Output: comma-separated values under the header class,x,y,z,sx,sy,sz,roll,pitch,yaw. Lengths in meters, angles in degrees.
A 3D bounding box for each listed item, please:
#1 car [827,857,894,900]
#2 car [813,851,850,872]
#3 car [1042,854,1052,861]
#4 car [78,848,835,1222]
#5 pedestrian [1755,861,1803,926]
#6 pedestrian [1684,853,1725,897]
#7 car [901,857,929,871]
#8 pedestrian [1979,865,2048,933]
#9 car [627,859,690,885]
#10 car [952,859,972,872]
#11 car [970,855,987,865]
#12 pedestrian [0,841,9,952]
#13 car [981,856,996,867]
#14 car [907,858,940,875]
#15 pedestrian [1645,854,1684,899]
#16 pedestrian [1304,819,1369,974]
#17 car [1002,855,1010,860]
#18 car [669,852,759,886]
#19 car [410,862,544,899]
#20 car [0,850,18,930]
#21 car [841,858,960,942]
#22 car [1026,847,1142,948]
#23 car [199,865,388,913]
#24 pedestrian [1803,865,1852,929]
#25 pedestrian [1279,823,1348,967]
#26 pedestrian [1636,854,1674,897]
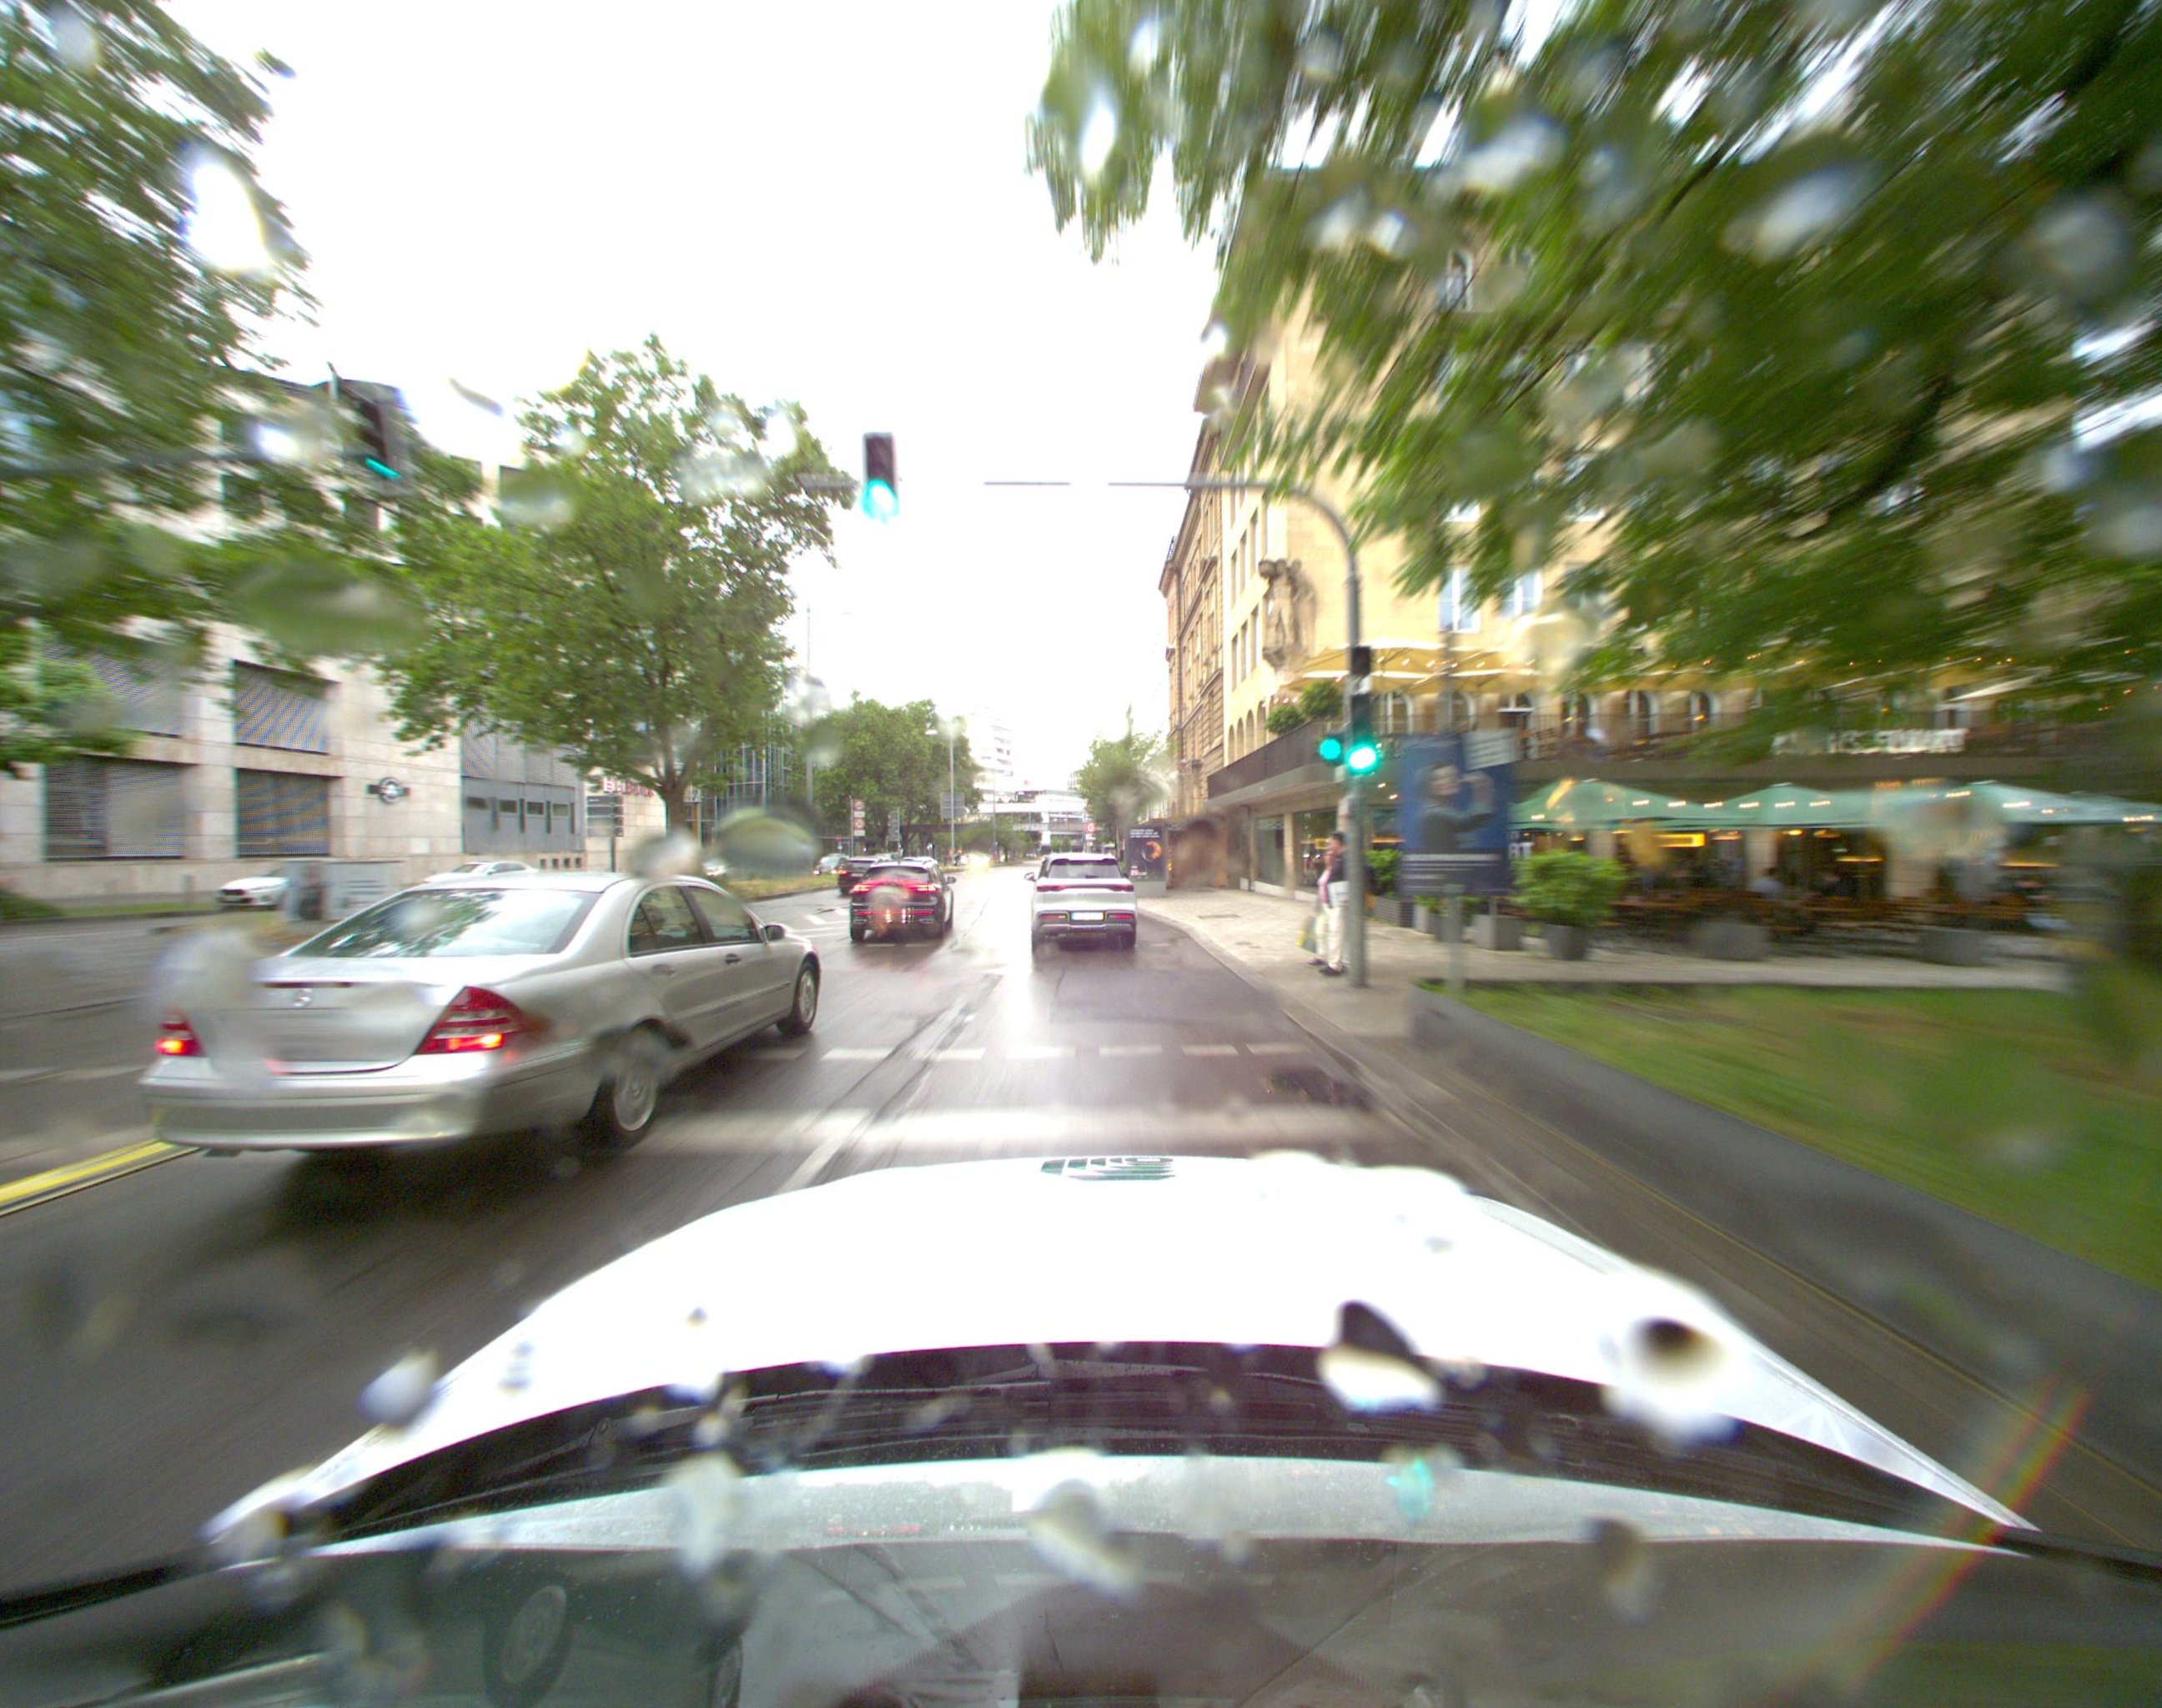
class,x,y,z,sx,sy,sz,roll,pitch,yaw
car,-8.665,0.927,32.351,1.808,1.578,3.994,0,0,-4
car,-20.262,0.618,66.243,1.825,1.639,4.089,0,-1,-1
car,-6.045,0.607,145.015,1.647,1.342,4.002,0,0,2
car,-3.145,0.729,5.435,1.667,1.479,4.360,0,0,0
pedestrian,14.477,0.812,16.888,0.645,1.322,0.425,0,0,-4
pedestrian,15.518,0.517,20.282,0.552,1.055,0.652,0,0,2
car,-16.694,1.016,82.117,1.719,1.432,4.399,-1,-1,3
pedestrian,19.413,0.924,16.963,0.735,1.368,0.625,1,0,-4
car,-23.914,1.029,46.245,1.585,1.416,3.405,-1,-1,5
car,-14.047,1.341,96.494,1.694,1.437,4.582,0,-1,0
car,-14.481,0.916,115.217,1.590,1.360,4.118,-1,-1,2
pedestrian,-15.902,0.623,11.660,0.449,1.614,0.636,0,0,-30
car,-14.865,1.193,130.649,1.868,1.680,4.680,0,-1,0
car,-14.033,1.121,72.690,1.852,1.442,4.317,-1,-1,3
pedestrian,13.924,0.521,19.446,0.552,1.055,0.545,0,0,2
pedestrian,3.111,0.512,9.961,0.630,1.835,0.563,-1,-1,4
car,-18.788,0.895,204.783,1.590,1.360,4.118,-1,-1,2
car,-15.507,0.627,34.649,1.740,1.365,4.134,-1,-1,3
car,-24.681,1.037,33.544,1.739,1.416,4.711,-1,-1,5
car,-23.644,0.748,15.207,1.729,1.673,4.300,-1,-1,5
car,-3.486,0.835,16.414,1.771,1.457,3.993,0,-1,-4
car,-0.020,0.733,15.302,1.896,1.621,3.996,0,-1,-2
car,-25.284,1.085,26.399,1.739,1.416,4.299,-1,-1,5
pedestrian,15.505,0.887,16.926,0.645,1.322,0.425,0,0,-4
pedestrian,3.067,0.522,10.748,0.593,1.835,0.624,0,-1,-27
pedestrian,14.276,0.528,20.258,0.552,1.055,0.545,0,0,2
